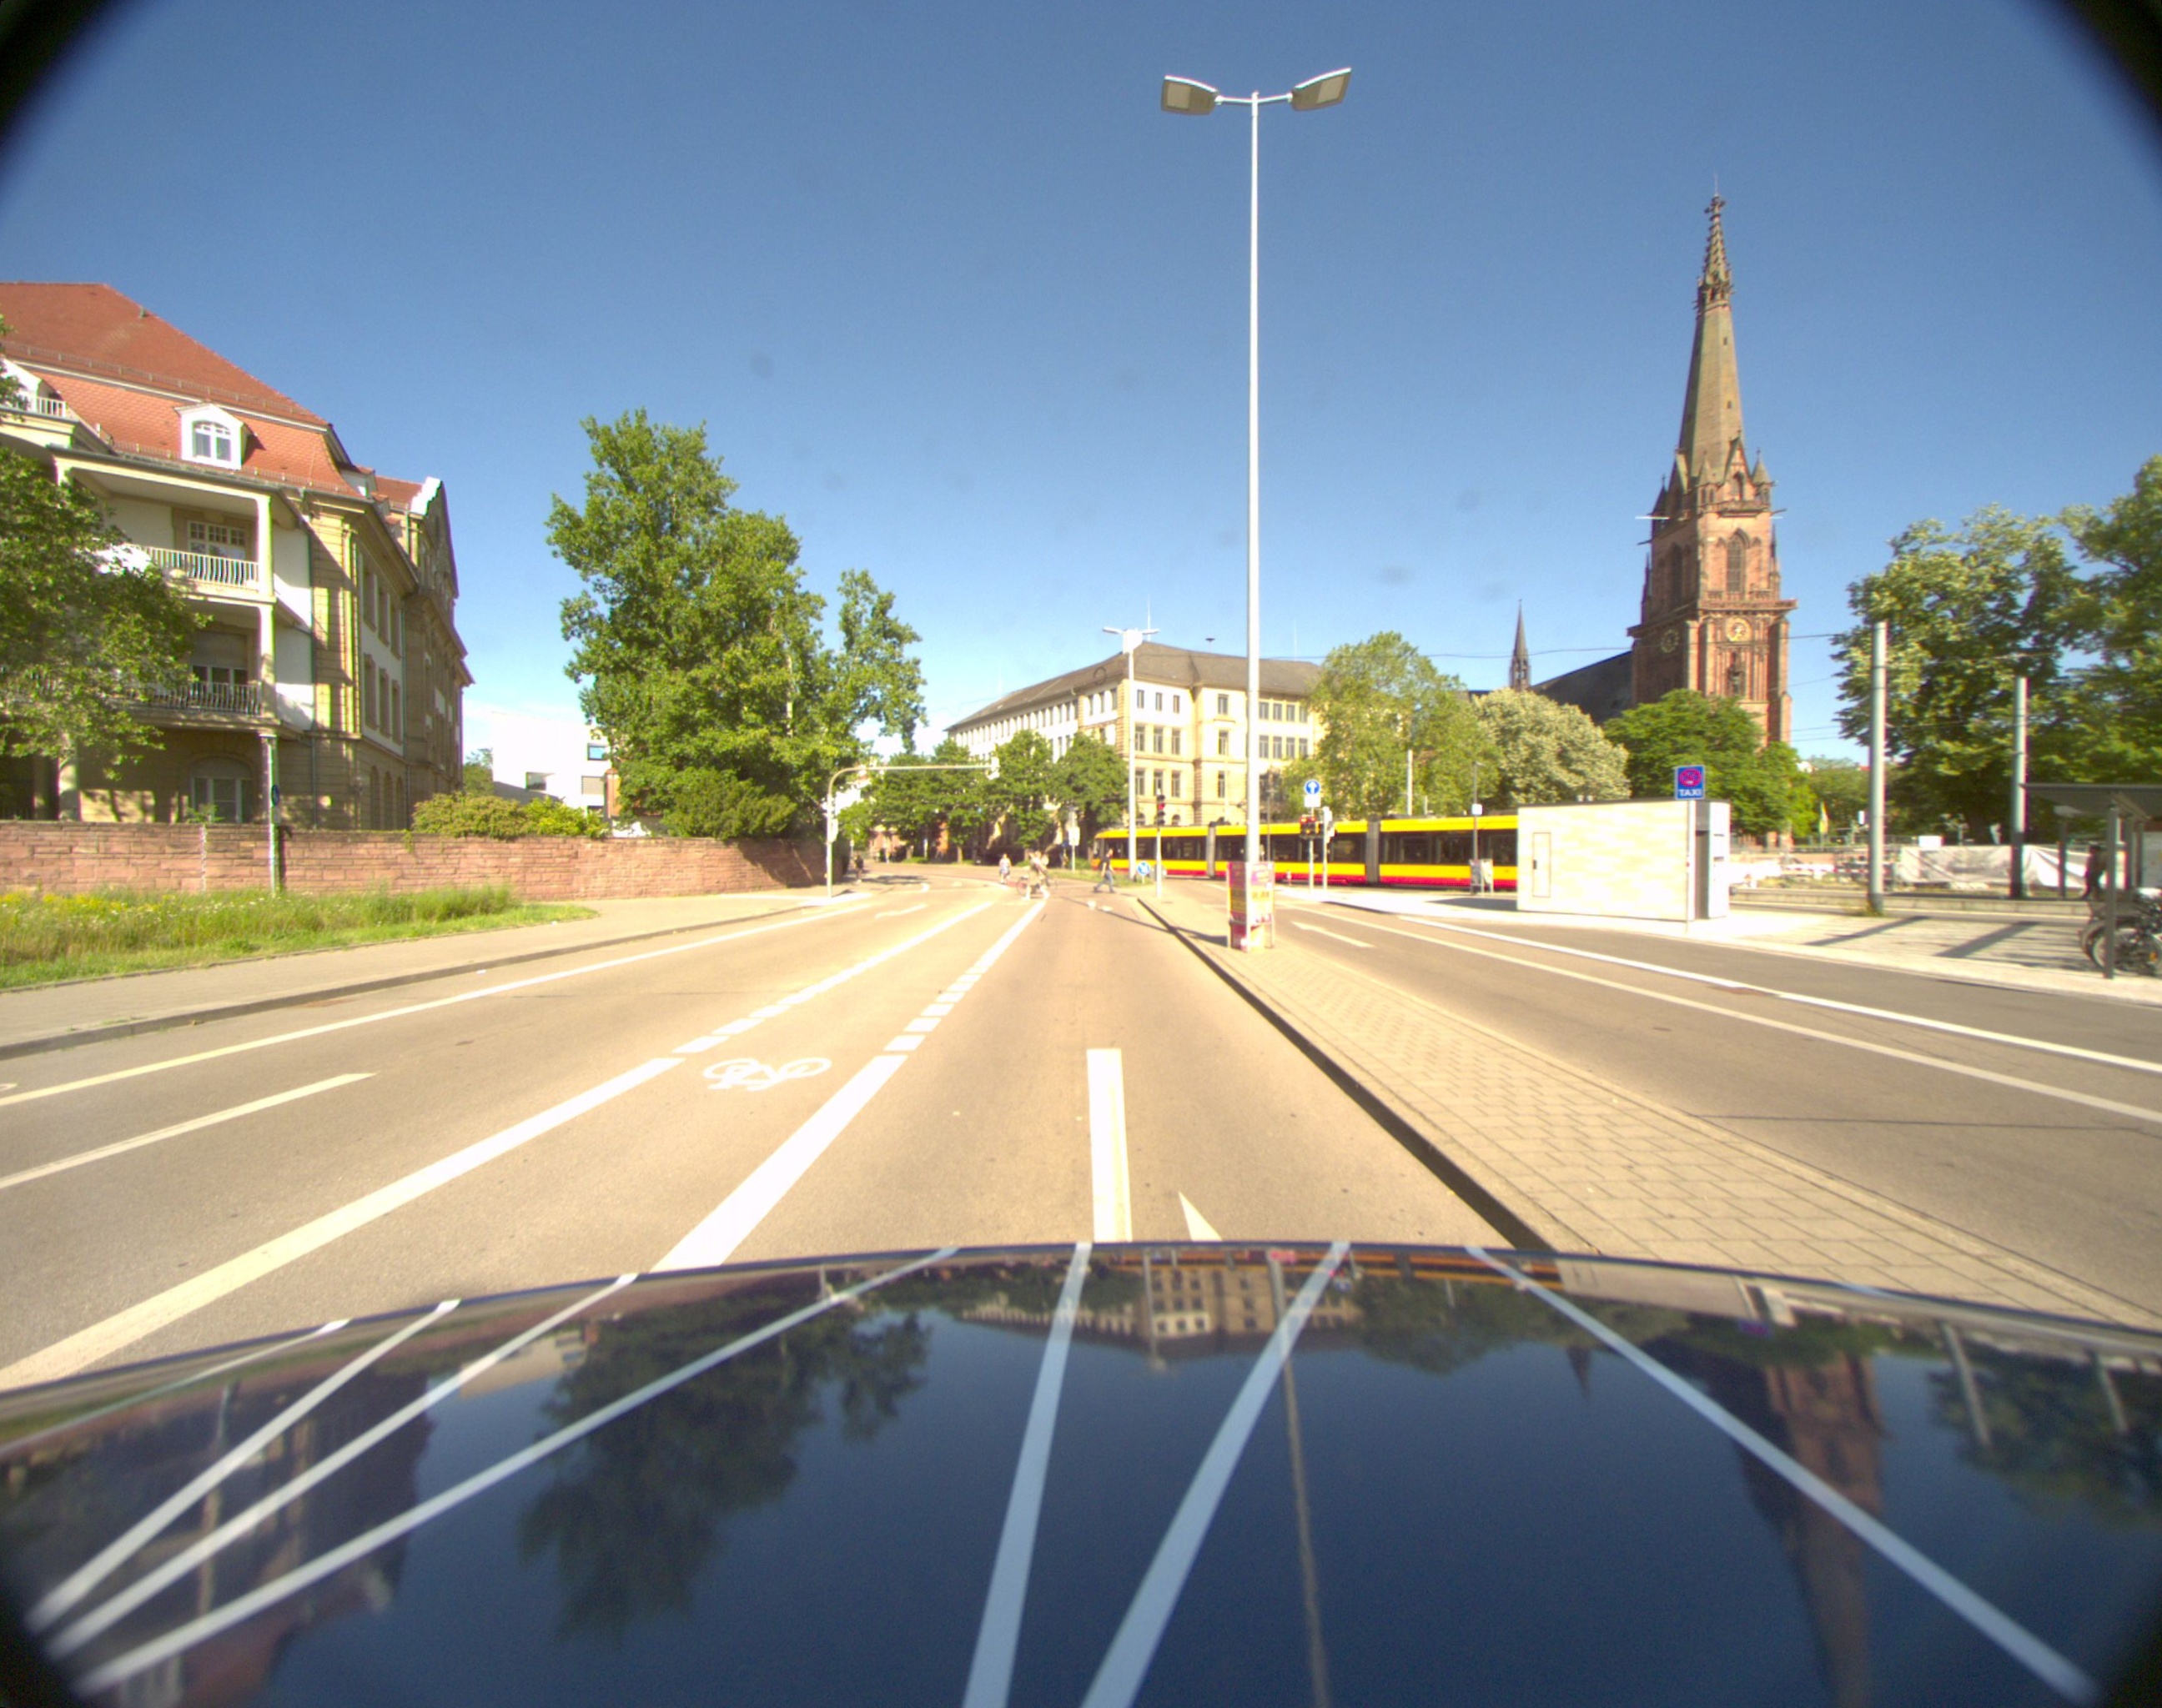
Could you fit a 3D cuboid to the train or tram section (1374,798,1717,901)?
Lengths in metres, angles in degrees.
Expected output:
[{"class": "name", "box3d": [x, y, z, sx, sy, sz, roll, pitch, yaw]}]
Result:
[{"class": "train or tram section", "box3d": [18.731, -0.200, 32.203, 2.838, 3.580, 12.294, -1, 1, -35]}]

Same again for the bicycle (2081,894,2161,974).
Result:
[{"class": "bicycle", "box3d": [15.145, 1.114, 10.327, 0.574, 1.045, 1.826, -1, 1, -32]}]

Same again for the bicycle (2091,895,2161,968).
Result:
[{"class": "bicycle", "box3d": [16.183, 1.159, 10.999, 0.630, 1.002, 1.826, -1, 1, -32]}]

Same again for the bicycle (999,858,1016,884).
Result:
[{"class": "bicycle", "box3d": [-4.049, 0.899, 41.753, 0.762, 1.360, 2.736, 0, 1, -8]}]

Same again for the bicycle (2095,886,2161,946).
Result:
[{"class": "bicycle", "box3d": [19.530, 1.122, 13.456, 0.630, 1.002, 1.826, -1, 1, -32]}]

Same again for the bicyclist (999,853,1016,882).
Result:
[{"class": "bicyclist", "box3d": [-4.054, 0.751, 41.817, 0.870, 1.551, 1.279, 0, 1, -8]}]

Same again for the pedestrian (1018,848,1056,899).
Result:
[{"class": "pedestrian", "box3d": [-1.611, 0.689, 27.661, 1.230, 1.845, 0.826, 0, 1, -15]}]

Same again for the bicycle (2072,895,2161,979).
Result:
[{"class": "bicycle", "box3d": [14.675, 1.128, 10.061, 0.630, 1.059, 1.826, -1, 1, -32]}]

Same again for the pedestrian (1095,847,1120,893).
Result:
[{"class": "pedestrian", "box3d": [1.072, 0.637, 31.029, 0.960, 1.839, 0.731, 1, 1, 3]}]

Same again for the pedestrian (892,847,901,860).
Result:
[{"class": "pedestrian", "box3d": [-27.591, -0.066, 113.493, 0.979, 1.801, 0.758, -3, -2, 10]}]

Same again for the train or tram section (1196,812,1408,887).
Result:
[{"class": "train or tram section", "box3d": [11.726, -0.256, 42.321, 2.806, 3.580, 12.294, -1, 1, -35]}]

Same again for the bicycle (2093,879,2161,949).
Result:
[{"class": "bicycle", "box3d": [18.951, 1.045, 13.048, 0.630, 1.173, 1.826, -1, 1, -32]}]

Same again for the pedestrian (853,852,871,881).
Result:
[{"class": "pedestrian", "box3d": [-12.979, 0.712, 45.089, 0.940, 1.711, 0.994, 0, 1, -12]}]

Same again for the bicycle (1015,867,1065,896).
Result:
[{"class": "bicycle", "box3d": [-1.667, 1.110, 31.154, 1.886, 1.064, 0.723, -2, 1, -21]}]

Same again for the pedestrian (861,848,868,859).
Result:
[{"class": "pedestrian", "box3d": [-35.442, -0.067, 124.362, 0.759, 1.802, 0.978, -1, 1, -38]}]

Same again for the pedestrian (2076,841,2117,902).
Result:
[{"class": "pedestrian", "box3d": [30.934, 0.523, 23.157, 0.606, 1.845, 0.679, -1, 1, -42]}]

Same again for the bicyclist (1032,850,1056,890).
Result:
[{"class": "bicyclist", "box3d": [-1.538, 0.631, 31.199, 0.778, 1.596, 0.721, -1, 1, -21]}]

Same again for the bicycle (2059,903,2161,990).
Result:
[{"class": "bicycle", "box3d": [13.938, 1.205, 9.591, 0.702, 1.002, 1.863, -1, 2, -32]}]

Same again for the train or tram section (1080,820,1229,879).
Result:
[{"class": "train or tram section", "box3d": [4.653, -0.308, 52.544, 2.806, 3.580, 12.504, -1, 1, -35]}]

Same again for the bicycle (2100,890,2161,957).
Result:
[{"class": "bicycle", "box3d": [17.169, 1.097, 11.624, 0.630, 1.002, 1.826, -1, 1, -32]}]

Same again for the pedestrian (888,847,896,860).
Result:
[{"class": "pedestrian", "box3d": [-27.630, -0.070, 111.289, 0.759, 1.802, 0.977, -1, 1, -40]}]

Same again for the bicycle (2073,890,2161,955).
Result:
[{"class": "bicycle", "box3d": [17.817, 1.135, 12.460, 0.630, 1.002, 1.826, -1, 1, -32]}]
